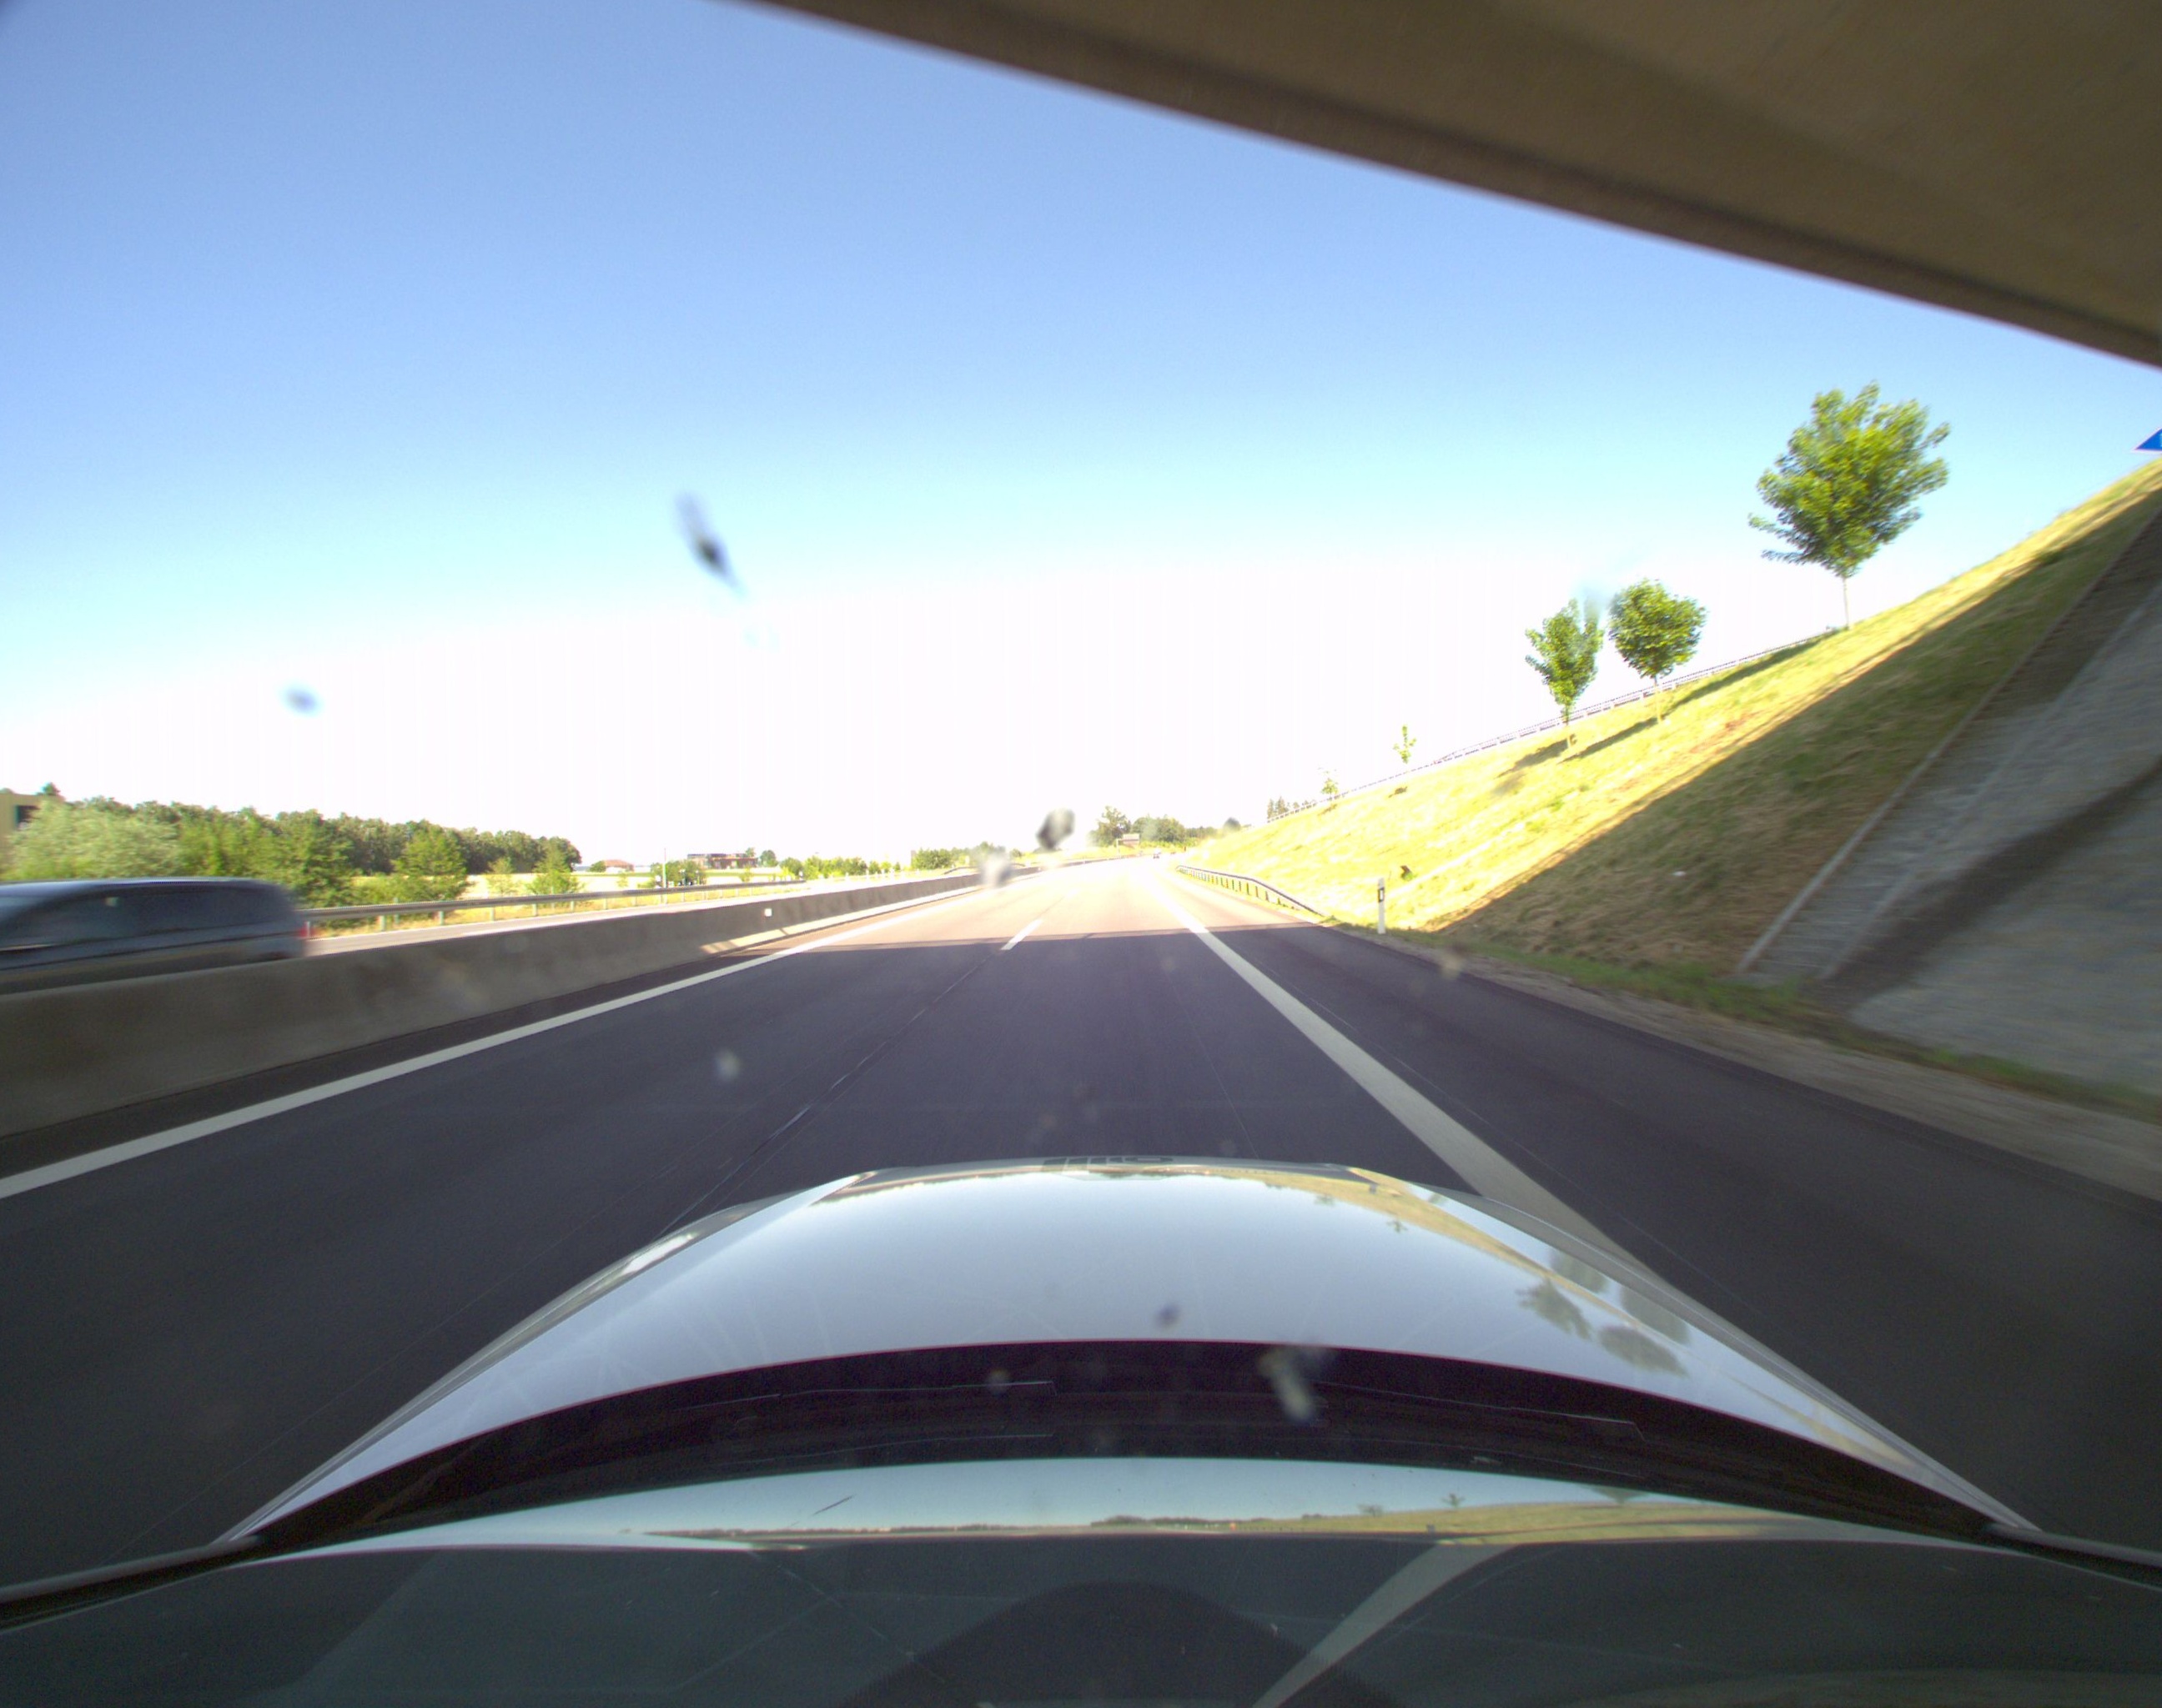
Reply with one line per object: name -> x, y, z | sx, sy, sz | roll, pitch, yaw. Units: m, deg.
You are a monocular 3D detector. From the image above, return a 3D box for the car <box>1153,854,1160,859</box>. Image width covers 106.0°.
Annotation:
car -> 22.918, 0.781, 247.049 | 1.981, 1.420, 4.011 | -3, 0, 10

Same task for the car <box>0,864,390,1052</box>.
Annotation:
car -> -10.314, 0.948, 8.362 | 2.061, 1.574, 4.930 | -1, 0, 3
